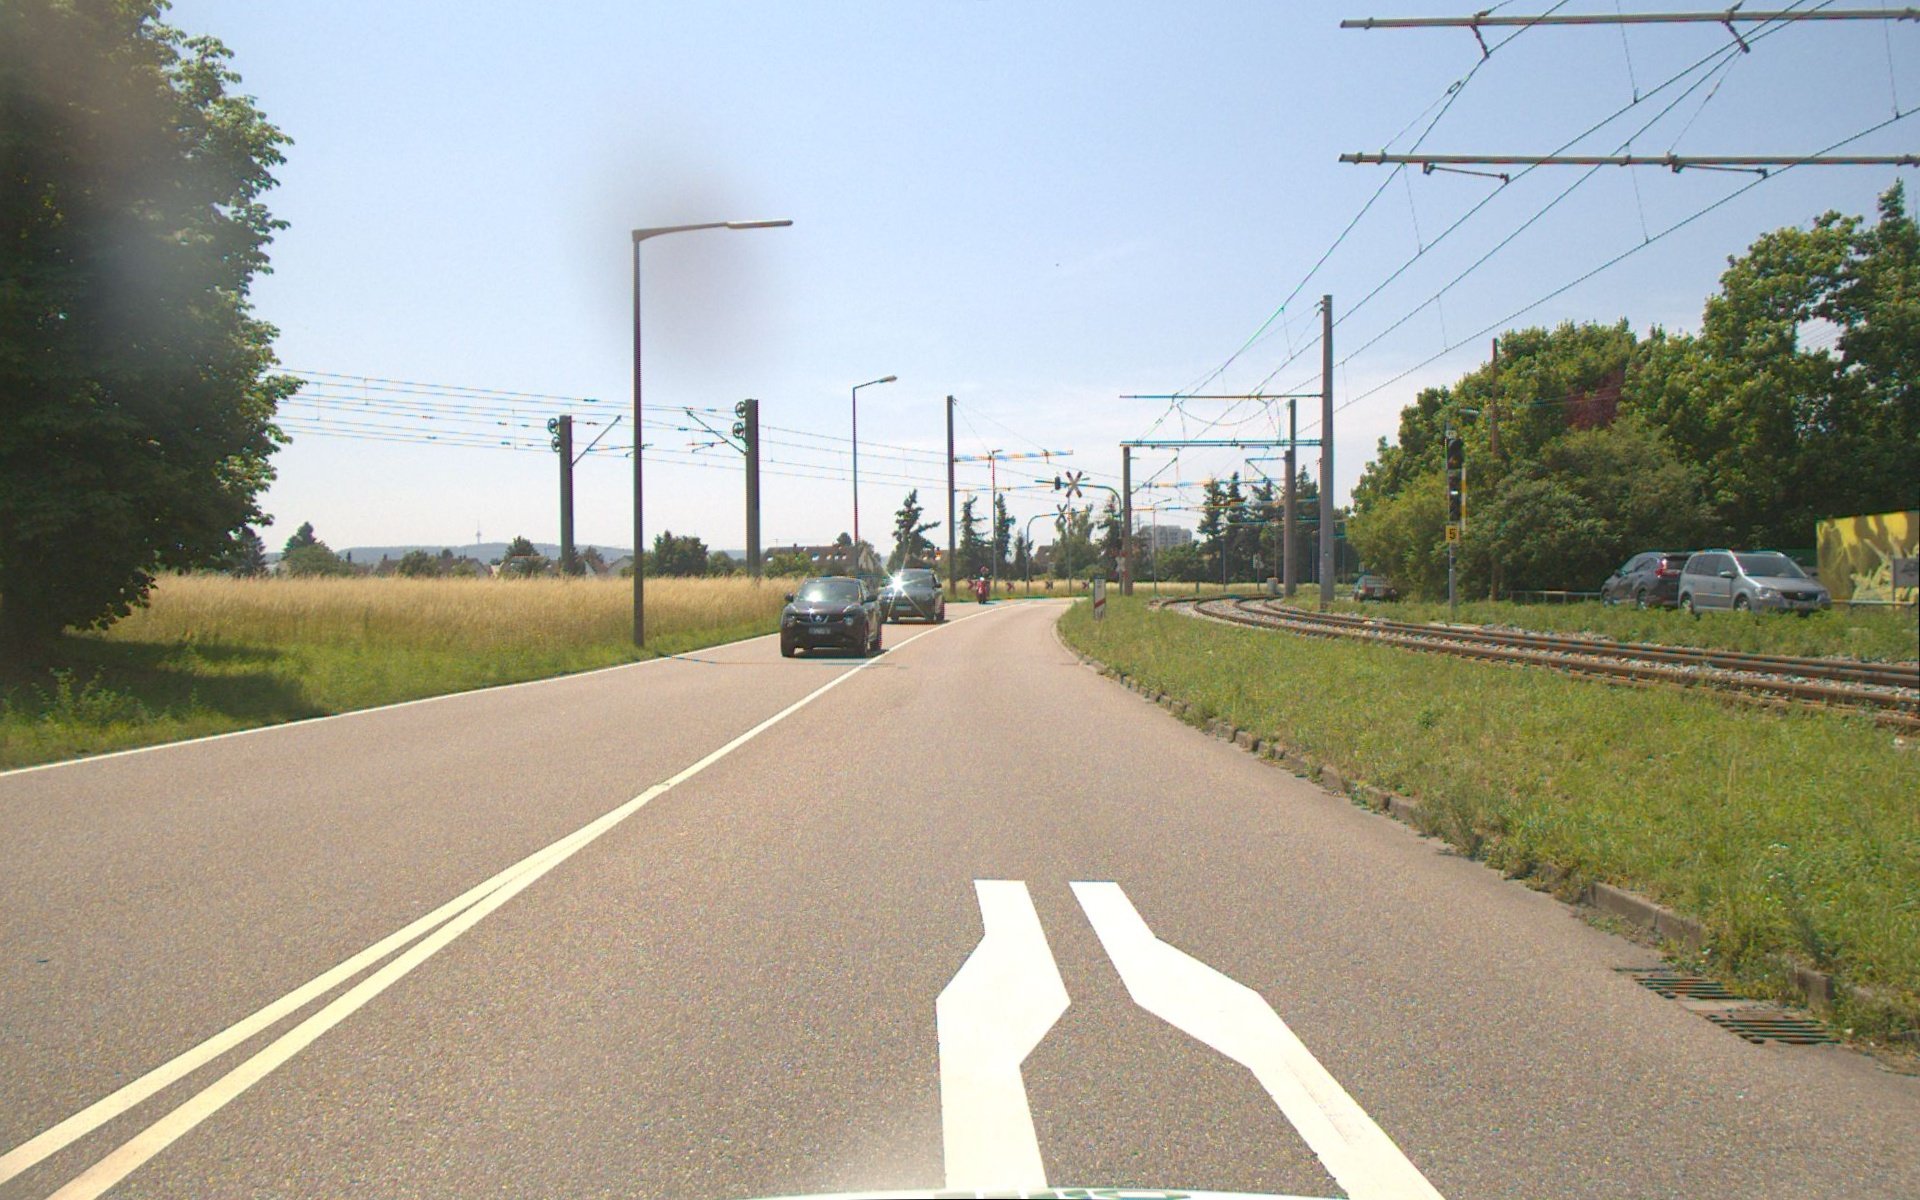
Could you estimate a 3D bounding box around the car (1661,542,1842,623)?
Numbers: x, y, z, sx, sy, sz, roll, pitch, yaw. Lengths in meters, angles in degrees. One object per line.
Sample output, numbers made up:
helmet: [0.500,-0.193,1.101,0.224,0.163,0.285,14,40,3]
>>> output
car: [17.377,-0.348,36.562,1.642,1.653,4.710,-1,-1,-1]

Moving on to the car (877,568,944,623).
car: [-1.532,-0.177,52.812,1.789,1.629,4.486,-1,1,2]

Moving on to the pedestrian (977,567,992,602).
pedestrian: [1.145,-0.722,76.940,0.629,1.562,0.578,-1,2,1]

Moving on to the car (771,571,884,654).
car: [-2.686,0.259,34.491,1.784,1.600,4.114,-1,-1,3]

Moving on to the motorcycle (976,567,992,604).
motorcycle: [1.104,-0.663,76.439,0.689,1.613,2.148,-1,2,2]

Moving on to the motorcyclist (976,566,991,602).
motorcyclist: [1.078,-0.743,76.288,0.674,1.613,0.670,-1,3,1]

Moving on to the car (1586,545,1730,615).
car: [18.037,-0.462,42.975,1.790,1.685,4.816,-1,-1,2]

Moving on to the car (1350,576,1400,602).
car: [20.913,-0.542,83.428,1.611,1.191,3.668,-1,-1,0]
